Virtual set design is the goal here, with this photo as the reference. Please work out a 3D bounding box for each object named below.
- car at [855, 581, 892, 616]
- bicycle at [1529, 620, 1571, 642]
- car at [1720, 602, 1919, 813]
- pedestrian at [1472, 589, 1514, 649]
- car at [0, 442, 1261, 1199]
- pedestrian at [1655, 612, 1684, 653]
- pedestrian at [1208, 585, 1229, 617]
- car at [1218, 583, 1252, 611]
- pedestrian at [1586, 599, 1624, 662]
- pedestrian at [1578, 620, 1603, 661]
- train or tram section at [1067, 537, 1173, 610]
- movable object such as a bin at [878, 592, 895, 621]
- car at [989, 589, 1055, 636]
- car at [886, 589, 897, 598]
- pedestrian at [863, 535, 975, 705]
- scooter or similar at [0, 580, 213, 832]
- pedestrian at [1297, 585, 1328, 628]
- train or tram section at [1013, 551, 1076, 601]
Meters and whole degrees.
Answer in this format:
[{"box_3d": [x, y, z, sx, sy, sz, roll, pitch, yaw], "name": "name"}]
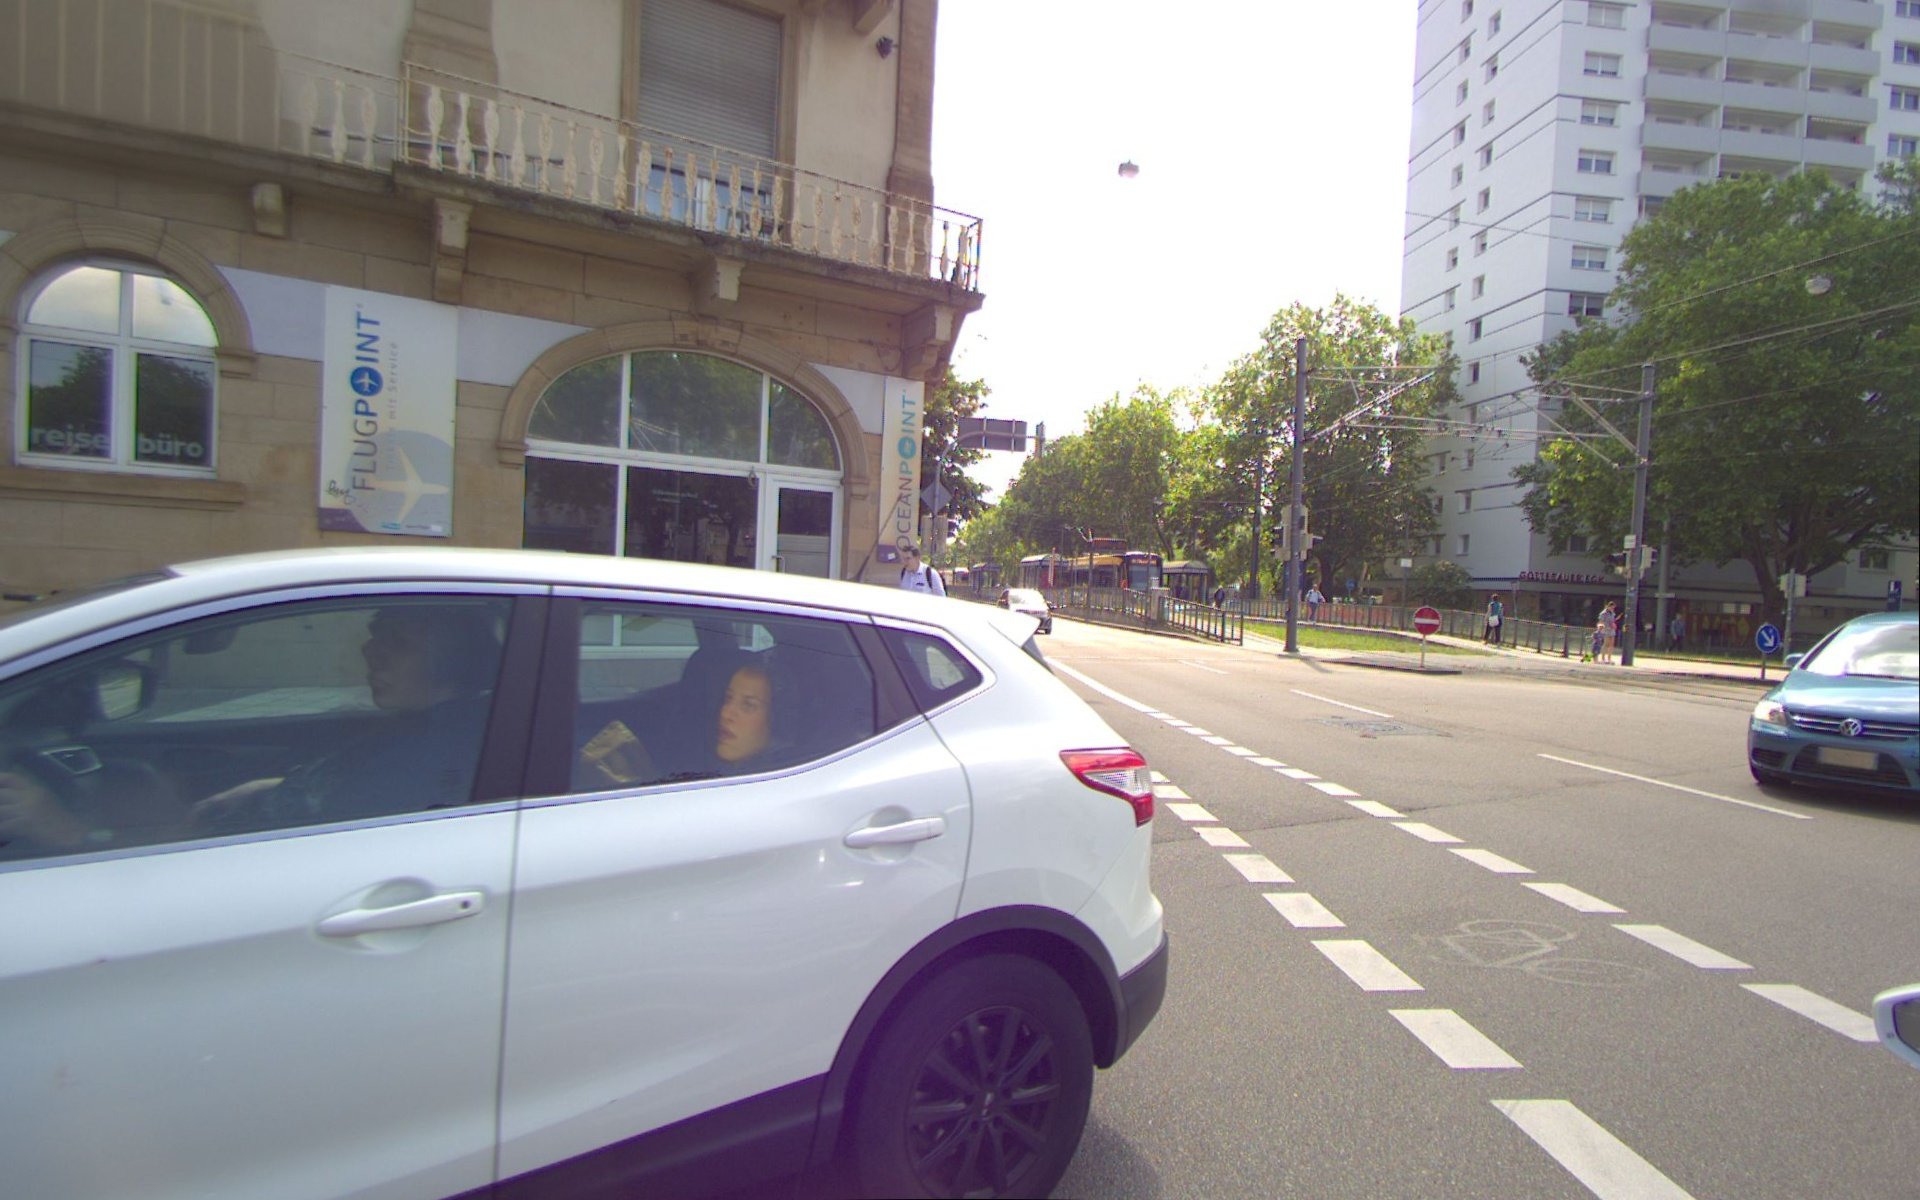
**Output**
[{"box_3d": [-4.324, -0.124, 49.786, 1.628, 1.600, 3.472, 2, 1, -8], "name": "car"}, {"box_3d": [29.796, 1.559, 50.749, 1.695, 1.023, 0.534, 3, 1, 22], "name": "bicycle"}, {"box_3d": [8.608, 0.863, 8.893, 3.889, 1.561, 1.737, 2, 0, -33], "name": "car"}, {"box_3d": [17.605, 0.626, 33.211, 0.814, 1.924, 0.845, 3, 1, -6], "name": "pedestrian"}, {"box_3d": [-1.358, 0.588, 2.344, 3.976, 1.603, 1.761, 1, 0, -32], "name": "car"}, {"box_3d": [29.209, 1.323, 41.357, 0.525, 1.620, 0.783, 2, 1, -8], "name": "pedestrian"}, {"box_3d": [15.050, 0.074, 58.530, 0.844, 1.798, 0.876, 3, 1, -6], "name": "pedestrian"}, {"box_3d": [28.376, -0.354, 103.738, 1.779, 2.812, 4.274, 3, 1, -6], "name": "car"}, {"box_3d": [17.789, 0.840, 27.705, 0.613, 1.688, 0.676, 3, 1, 13], "name": "pedestrian"}, {"box_3d": [17.232, 1.099, 27.453, 0.412, 1.077, 0.437, 3, 1, 14], "name": "pedestrian"}, {"box_3d": [8.986, -1.473, 58.640, 2.764, 3.632, 13.002, 3, 1, -6], "name": "train or tram section"}, {"box_3d": [-2.968, 0.257, 40.608, 0.582, 1.133, 0.786, 2, 1, -11], "name": "movable object such as a bin"}, {"box_3d": [2.096, 0.389, 34.841, 1.608, 1.458, 3.639, 2, 1, -7], "name": "car"}, {"box_3d": [-11.724, -1.165, 171.929, 1.629, 1.390, 3.473, 2, 1, -6], "name": "car"}, {"box_3d": [-0.493, 0.226, 11.833, 0.895, 1.884, 0.798, 5, 1, -30], "name": "pedestrian"}, {"box_3d": [-4.678, 0.510, 5.469, 0.473, 1.161, 1.250, 3, 3, -12], "name": "scooter or similar"}, {"box_3d": [15.374, 0.258, 43.816, 0.835, 1.804, 1.044, 3, 1, -5], "name": "pedestrian"}, {"box_3d": [6.698, -1.923, 81.994, 2.681, 3.632, 13.002, 3, 1, -6], "name": "train or tram section"}]
